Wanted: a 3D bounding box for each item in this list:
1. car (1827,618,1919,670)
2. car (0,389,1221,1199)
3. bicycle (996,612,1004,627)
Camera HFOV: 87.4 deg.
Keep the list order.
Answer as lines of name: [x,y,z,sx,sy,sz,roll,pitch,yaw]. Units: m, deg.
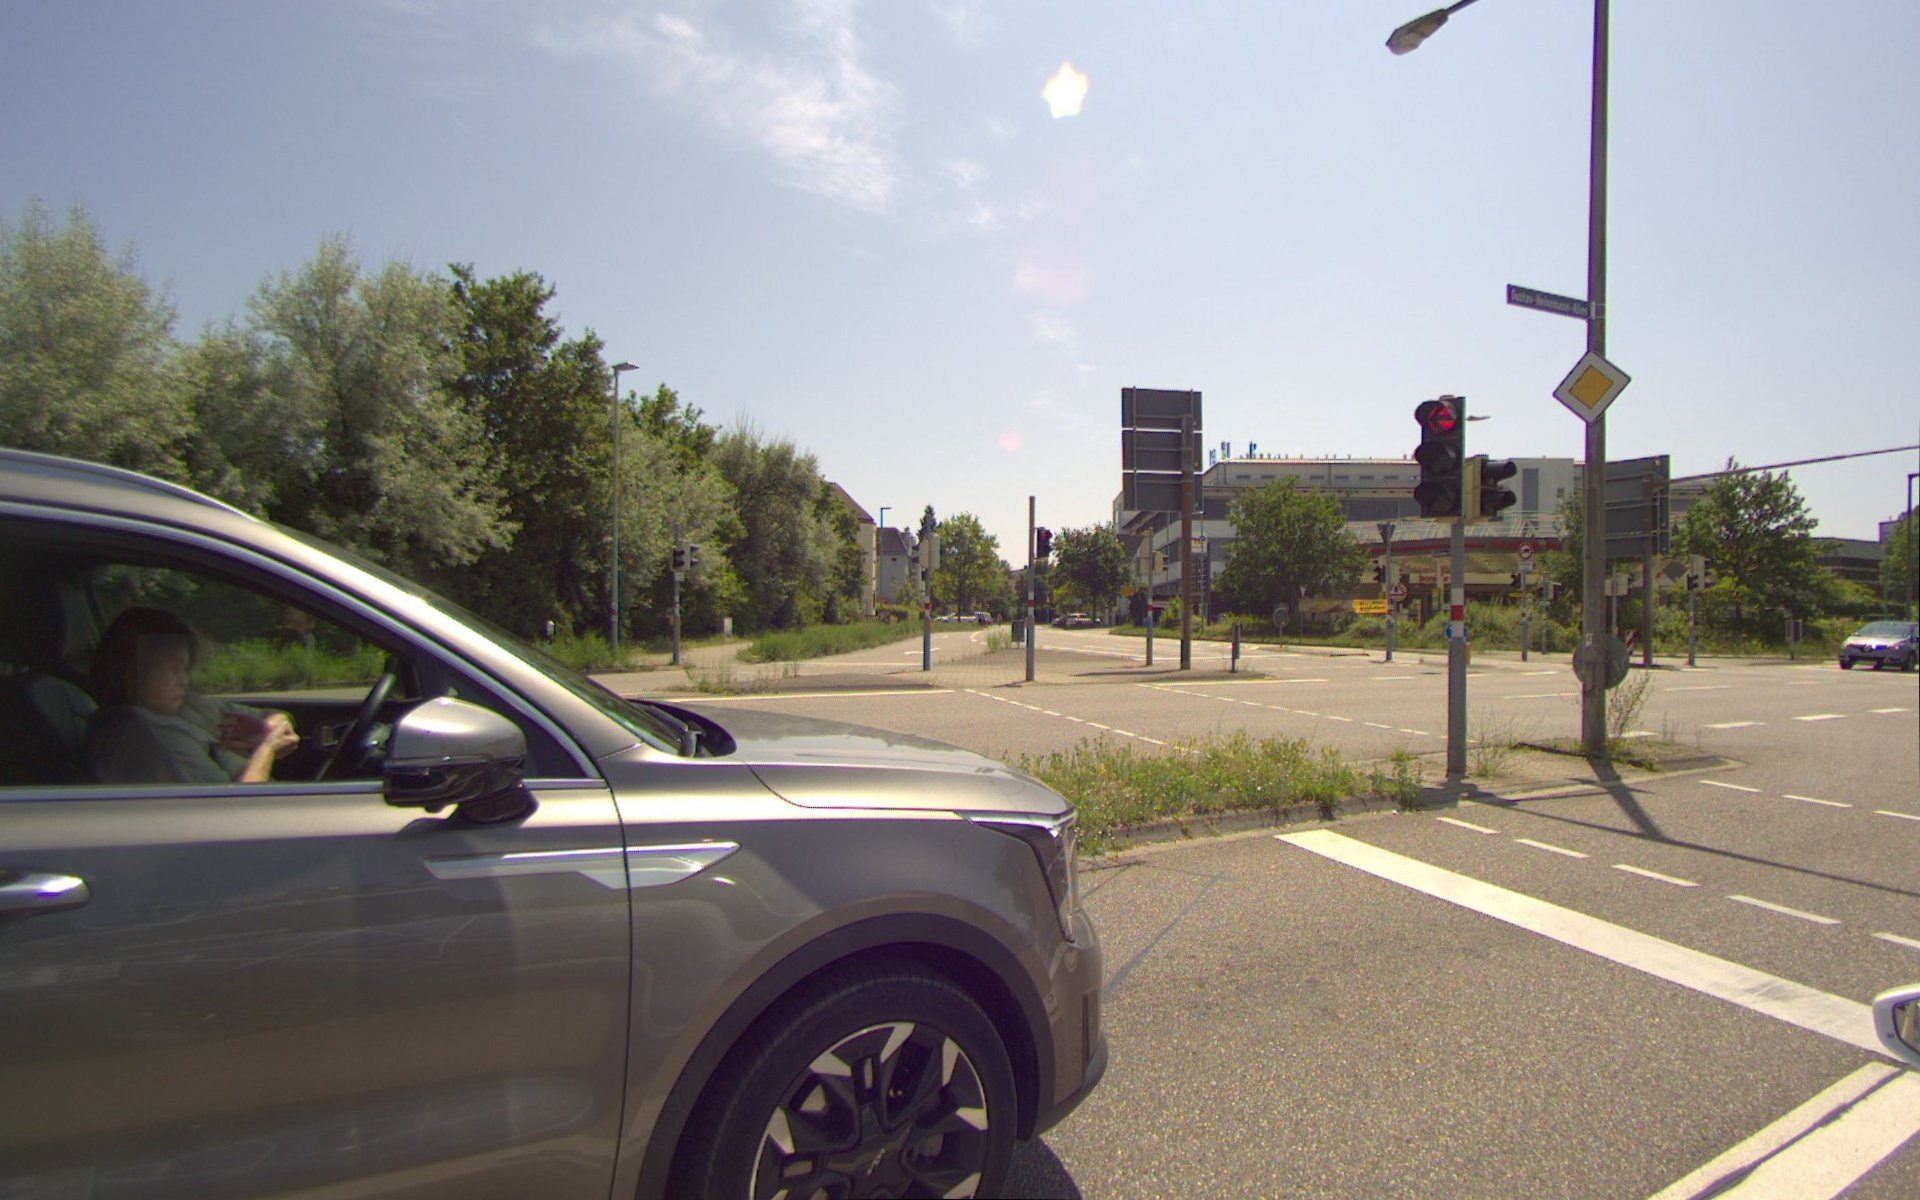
car: [30.053,1.406,32.689,3.954,1.560,1.650,1,0,-31]
car: [-1.721,0.576,2.061,4.480,1.690,1.771,1,-1,-31]
bicycle: [5.518,2.767,139.843,0.876,2.040,3.196,0,-1,6]
